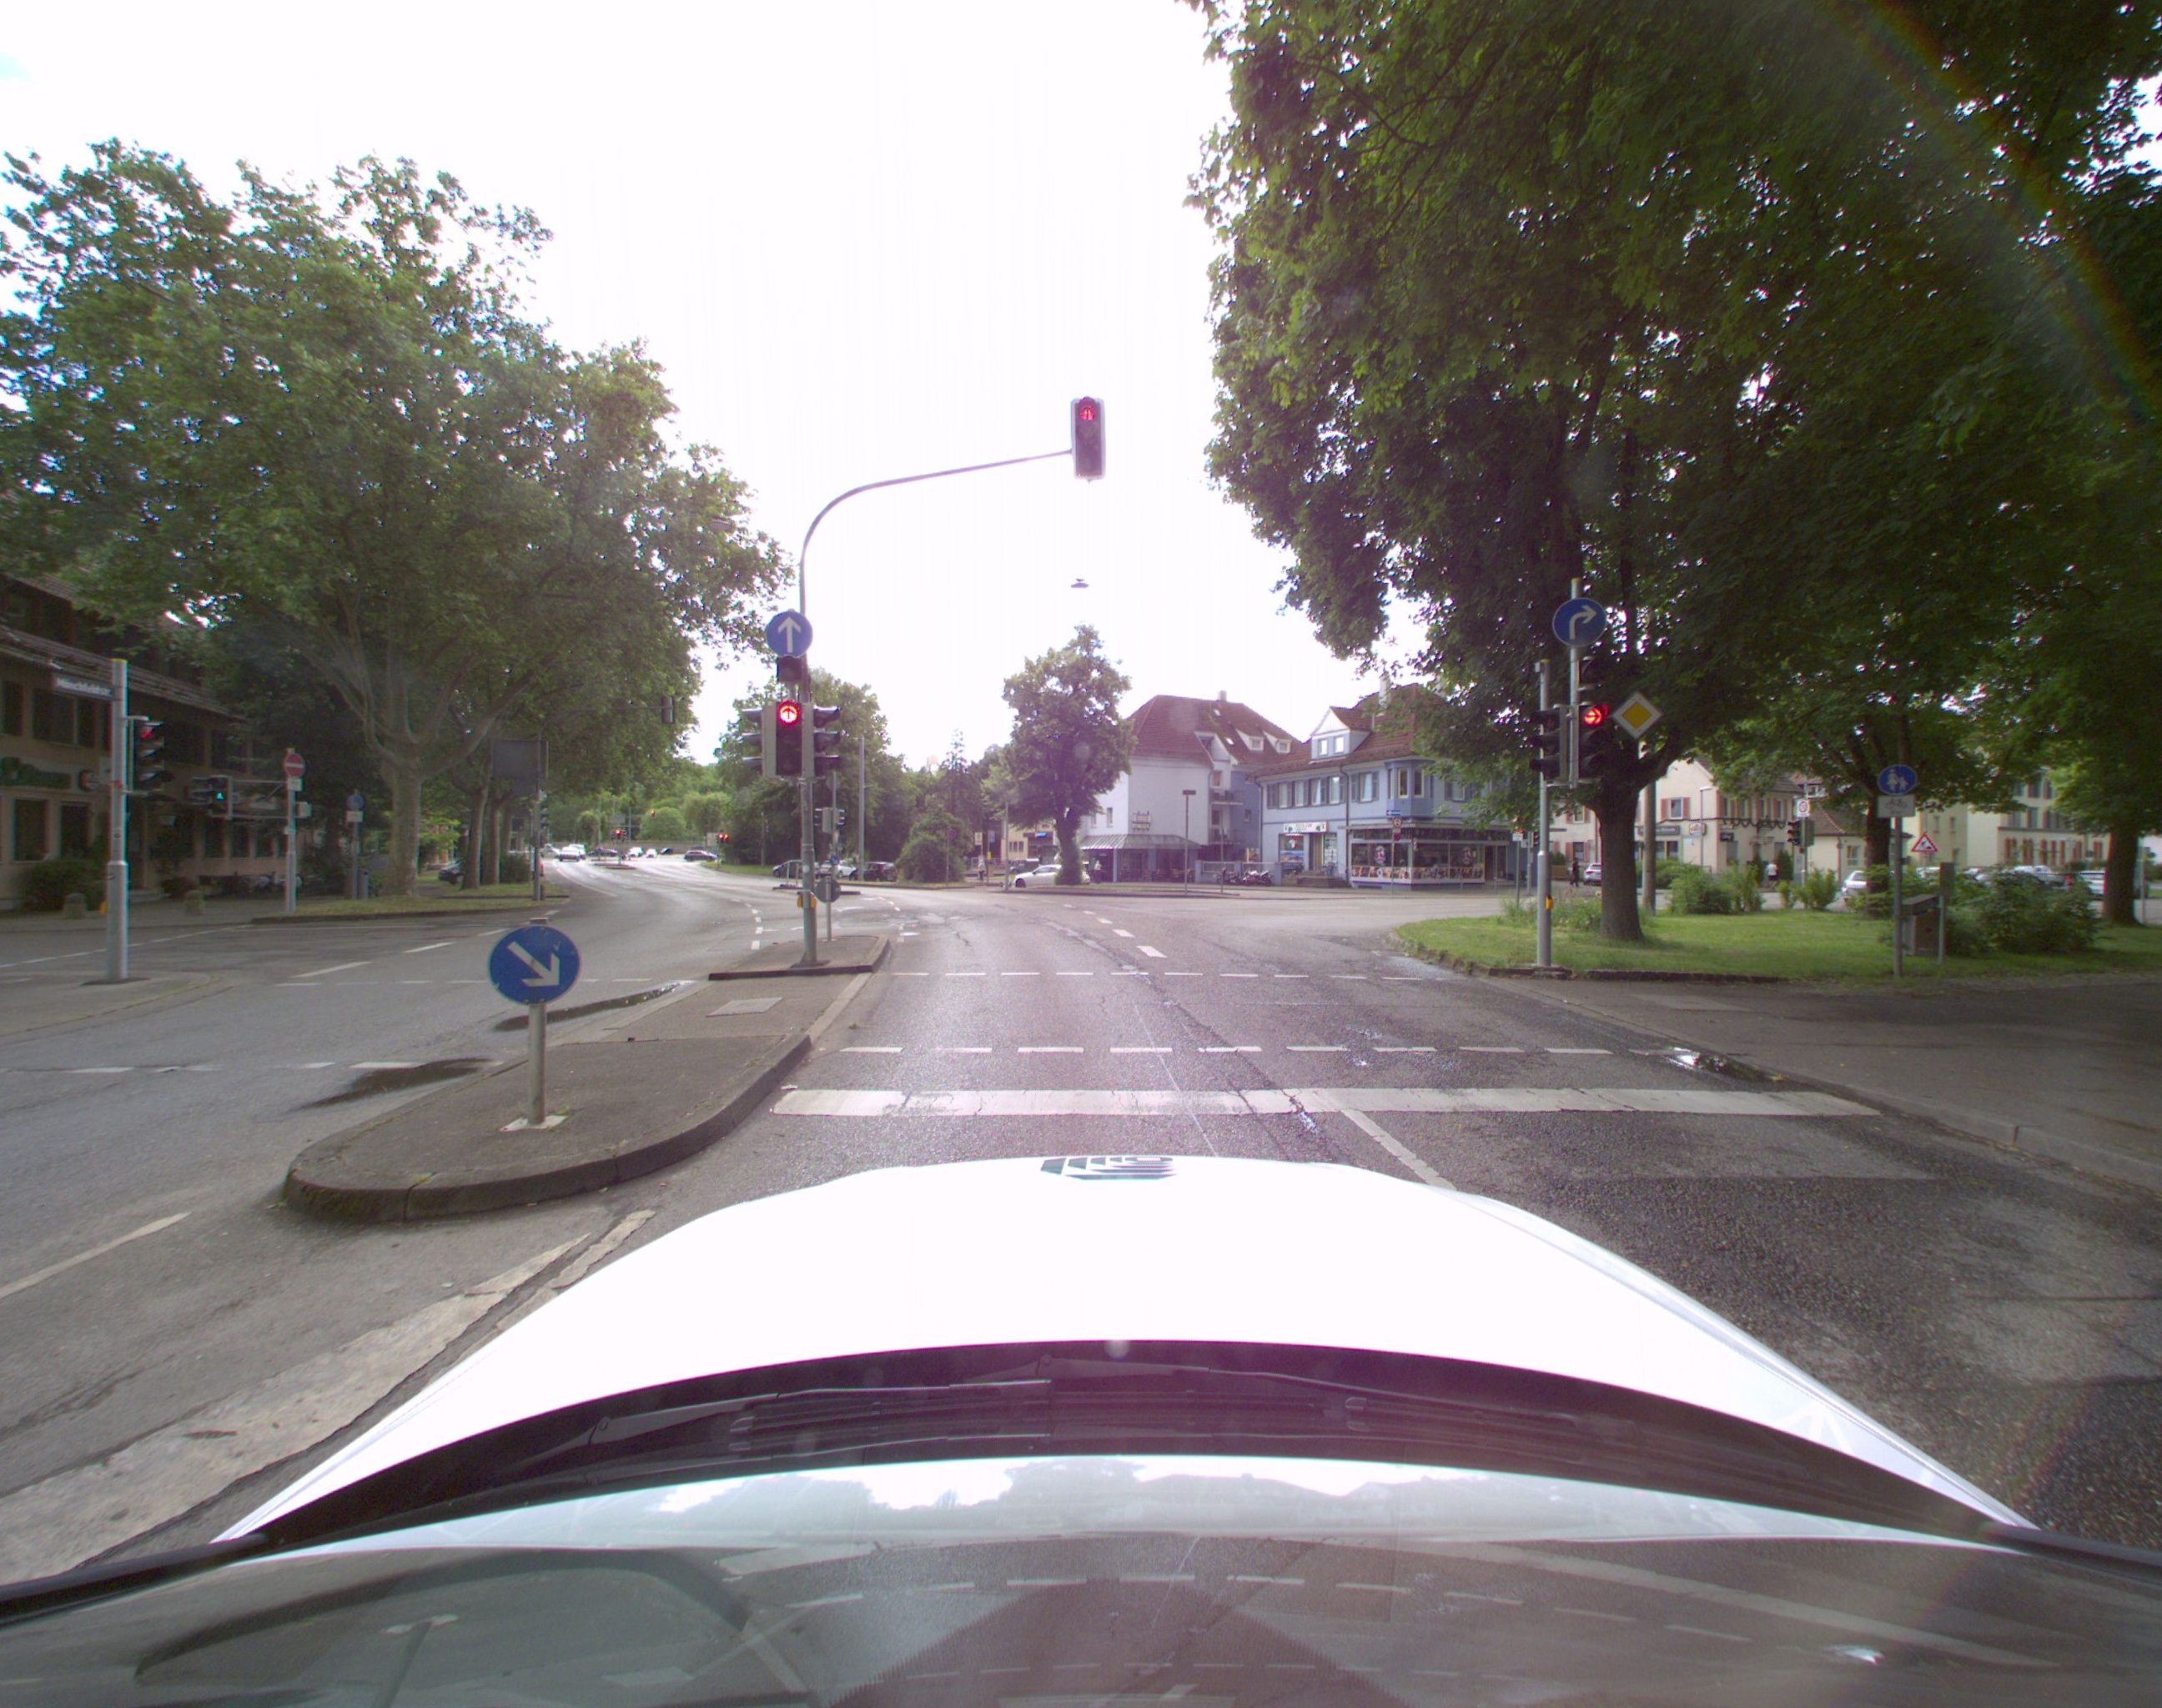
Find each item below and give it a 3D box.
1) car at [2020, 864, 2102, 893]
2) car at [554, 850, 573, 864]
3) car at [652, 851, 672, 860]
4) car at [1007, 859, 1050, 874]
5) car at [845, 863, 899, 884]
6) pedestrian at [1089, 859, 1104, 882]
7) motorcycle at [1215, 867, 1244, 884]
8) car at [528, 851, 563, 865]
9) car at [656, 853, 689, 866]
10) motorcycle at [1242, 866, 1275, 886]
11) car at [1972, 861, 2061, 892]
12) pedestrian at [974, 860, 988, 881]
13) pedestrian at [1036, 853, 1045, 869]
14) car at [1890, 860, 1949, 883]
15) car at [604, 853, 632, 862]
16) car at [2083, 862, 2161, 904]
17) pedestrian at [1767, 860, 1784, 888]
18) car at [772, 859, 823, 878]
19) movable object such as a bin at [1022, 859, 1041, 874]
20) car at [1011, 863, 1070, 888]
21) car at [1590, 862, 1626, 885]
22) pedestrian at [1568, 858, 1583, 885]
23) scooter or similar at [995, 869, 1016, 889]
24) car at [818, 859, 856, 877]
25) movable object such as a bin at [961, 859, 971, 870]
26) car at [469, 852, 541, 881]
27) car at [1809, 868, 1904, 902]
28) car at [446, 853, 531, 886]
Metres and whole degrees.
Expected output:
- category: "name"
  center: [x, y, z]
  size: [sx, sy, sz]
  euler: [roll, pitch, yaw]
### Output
- category: "car"
  center: [47.004, 1.169, 39.059]
  size: [3.511, 1.321, 1.549]
  euler: [0, 0, -22]
- category: "car"
  center: [-54.920, 0.289, 86.433]
  size: [1.440, 1.416, 2.838]
  euler: [0, -1, -39]
- category: "car"
  center: [-95.507, 0.447, 185.594]
  size: [4.011, 2.014, 1.981]
  euler: [0, -1, -29]
- category: "car"
  center: [-4.883, 1.140, 76.153]
  size: [3.752, 1.345, 1.422]
  euler: [0, 0, -25]
- category: "car"
  center: [-13.907, 1.270, 54.202]
  size: [3.549, 1.394, 1.481]
  euler: [0, -1, 34]
- category: "pedestrian"
  center: [1.069, 1.125, 54.873]
  size: [0.759, 1.545, 0.682]
  euler: [-1, -1, 41]
- category: "motorcycle"
  center: [9.114, 1.317, 50.076]
  size: [0.699, 1.064, 1.617]
  euler: [0, -1, -44]
- category: "car"
  center: [-79.360, 0.570, 120.709]
  size: [3.993, 2.014, 1.855]
  euler: [0, -1, -14]
- category: "car"
  center: [-61.525, 0.847, 122.699]
  size: [3.993, 2.014, 1.855]
  euler: [0, -1, -14]
- category: "motorcycle"
  center: [10.535, 1.290, 48.261]
  size: [1.777, 1.121, 0.699]
  euler: [0, -1, 40]
- category: "car"
  center: [42.217, 0.978, 36.752]
  size: [3.510, 1.321, 1.549]
  euler: [0, 0, -21]
- category: "pedestrian"
  center: [-7.253, 1.195, 59.079]
  size: [0.699, 1.545, 0.682]
  euler: [-1, -1, 42]
- category: "pedestrian"
  center: [-3.942, 0.717, 78.968]
  size: [0.681, 1.545, 0.701]
  euler: [0, -1, -32]
- category: "car"
  center: [55.116, 1.130, 53.531]
  size: [4.007, 1.420, 1.544]
  euler: [0, 0, -26]
- category: "car"
  center: [-83.140, 0.568, 146.285]
  size: [3.993, 1.551, 1.860]
  euler: [0, 0, -15]
- category: "car"
  center: [52.832, 1.437, 41.126]
  size: [4.004, 2.014, 1.770]
  euler: [0, -1, -23]
- category: "pedestrian"
  center: [41.046, 1.190, 48.135]
  size: [0.611, 1.649, 0.606]
  euler: [0, -1, -27]
- category: "car"
  center: [-22.439, 1.118, 64.481]
  size: [3.520, 1.464, 1.591]
  euler: [0, 0, 14]
- category: "movable object such as a bin"
  center: [-4.525, 1.138, 74.246]
  size: [1.447, 1.409, 0.959]
  euler: [0, -1, -25]
- category: "car"
  center: [-2.308, 1.205, 46.236]
  size: [3.134, 1.354, 1.448]
  euler: [0, -1, 36]
- category: "car"
  center: [32.603, 1.187, 50.340]
  size: [1.481, 1.369, 3.198]
  euler: [-1, -1, 40]
- category: "pedestrian"
  center: [28.219, 1.001, 46.502]
  size: [0.462, 1.517, 0.581]
  euler: [0, -1, -38]
- category: "scooter or similar"
  center: [-3.977, 1.293, 42.879]
  size: [0.413, 1.011, 1.575]
  euler: [-1, -1, 22]
- category: "car"
  center: [-20.081, 1.135, 67.183]
  size: [1.534, 1.464, 3.407]
  euler: [0, 0, 13]
- category: "movable object such as a bin"
  center: [-12.223, 1.125, 86.636]
  size: [0.953, 1.115, 0.381]
  euler: [0, -1, -19]
- category: "car"
  center: [-35.484, 0.760, 50.278]
  size: [3.461, 1.742, 1.557]
  euler: [0, -1, -31]
- category: "car"
  center: [31.964, 1.253, 33.568]
  size: [3.511, 1.321, 1.549]
  euler: [0, 0, -22]
- category: "car"
  center: [-31.001, 0.787, 42.713]
  size: [3.461, 1.641, 1.557]
  euler: [0, -1, -31]
